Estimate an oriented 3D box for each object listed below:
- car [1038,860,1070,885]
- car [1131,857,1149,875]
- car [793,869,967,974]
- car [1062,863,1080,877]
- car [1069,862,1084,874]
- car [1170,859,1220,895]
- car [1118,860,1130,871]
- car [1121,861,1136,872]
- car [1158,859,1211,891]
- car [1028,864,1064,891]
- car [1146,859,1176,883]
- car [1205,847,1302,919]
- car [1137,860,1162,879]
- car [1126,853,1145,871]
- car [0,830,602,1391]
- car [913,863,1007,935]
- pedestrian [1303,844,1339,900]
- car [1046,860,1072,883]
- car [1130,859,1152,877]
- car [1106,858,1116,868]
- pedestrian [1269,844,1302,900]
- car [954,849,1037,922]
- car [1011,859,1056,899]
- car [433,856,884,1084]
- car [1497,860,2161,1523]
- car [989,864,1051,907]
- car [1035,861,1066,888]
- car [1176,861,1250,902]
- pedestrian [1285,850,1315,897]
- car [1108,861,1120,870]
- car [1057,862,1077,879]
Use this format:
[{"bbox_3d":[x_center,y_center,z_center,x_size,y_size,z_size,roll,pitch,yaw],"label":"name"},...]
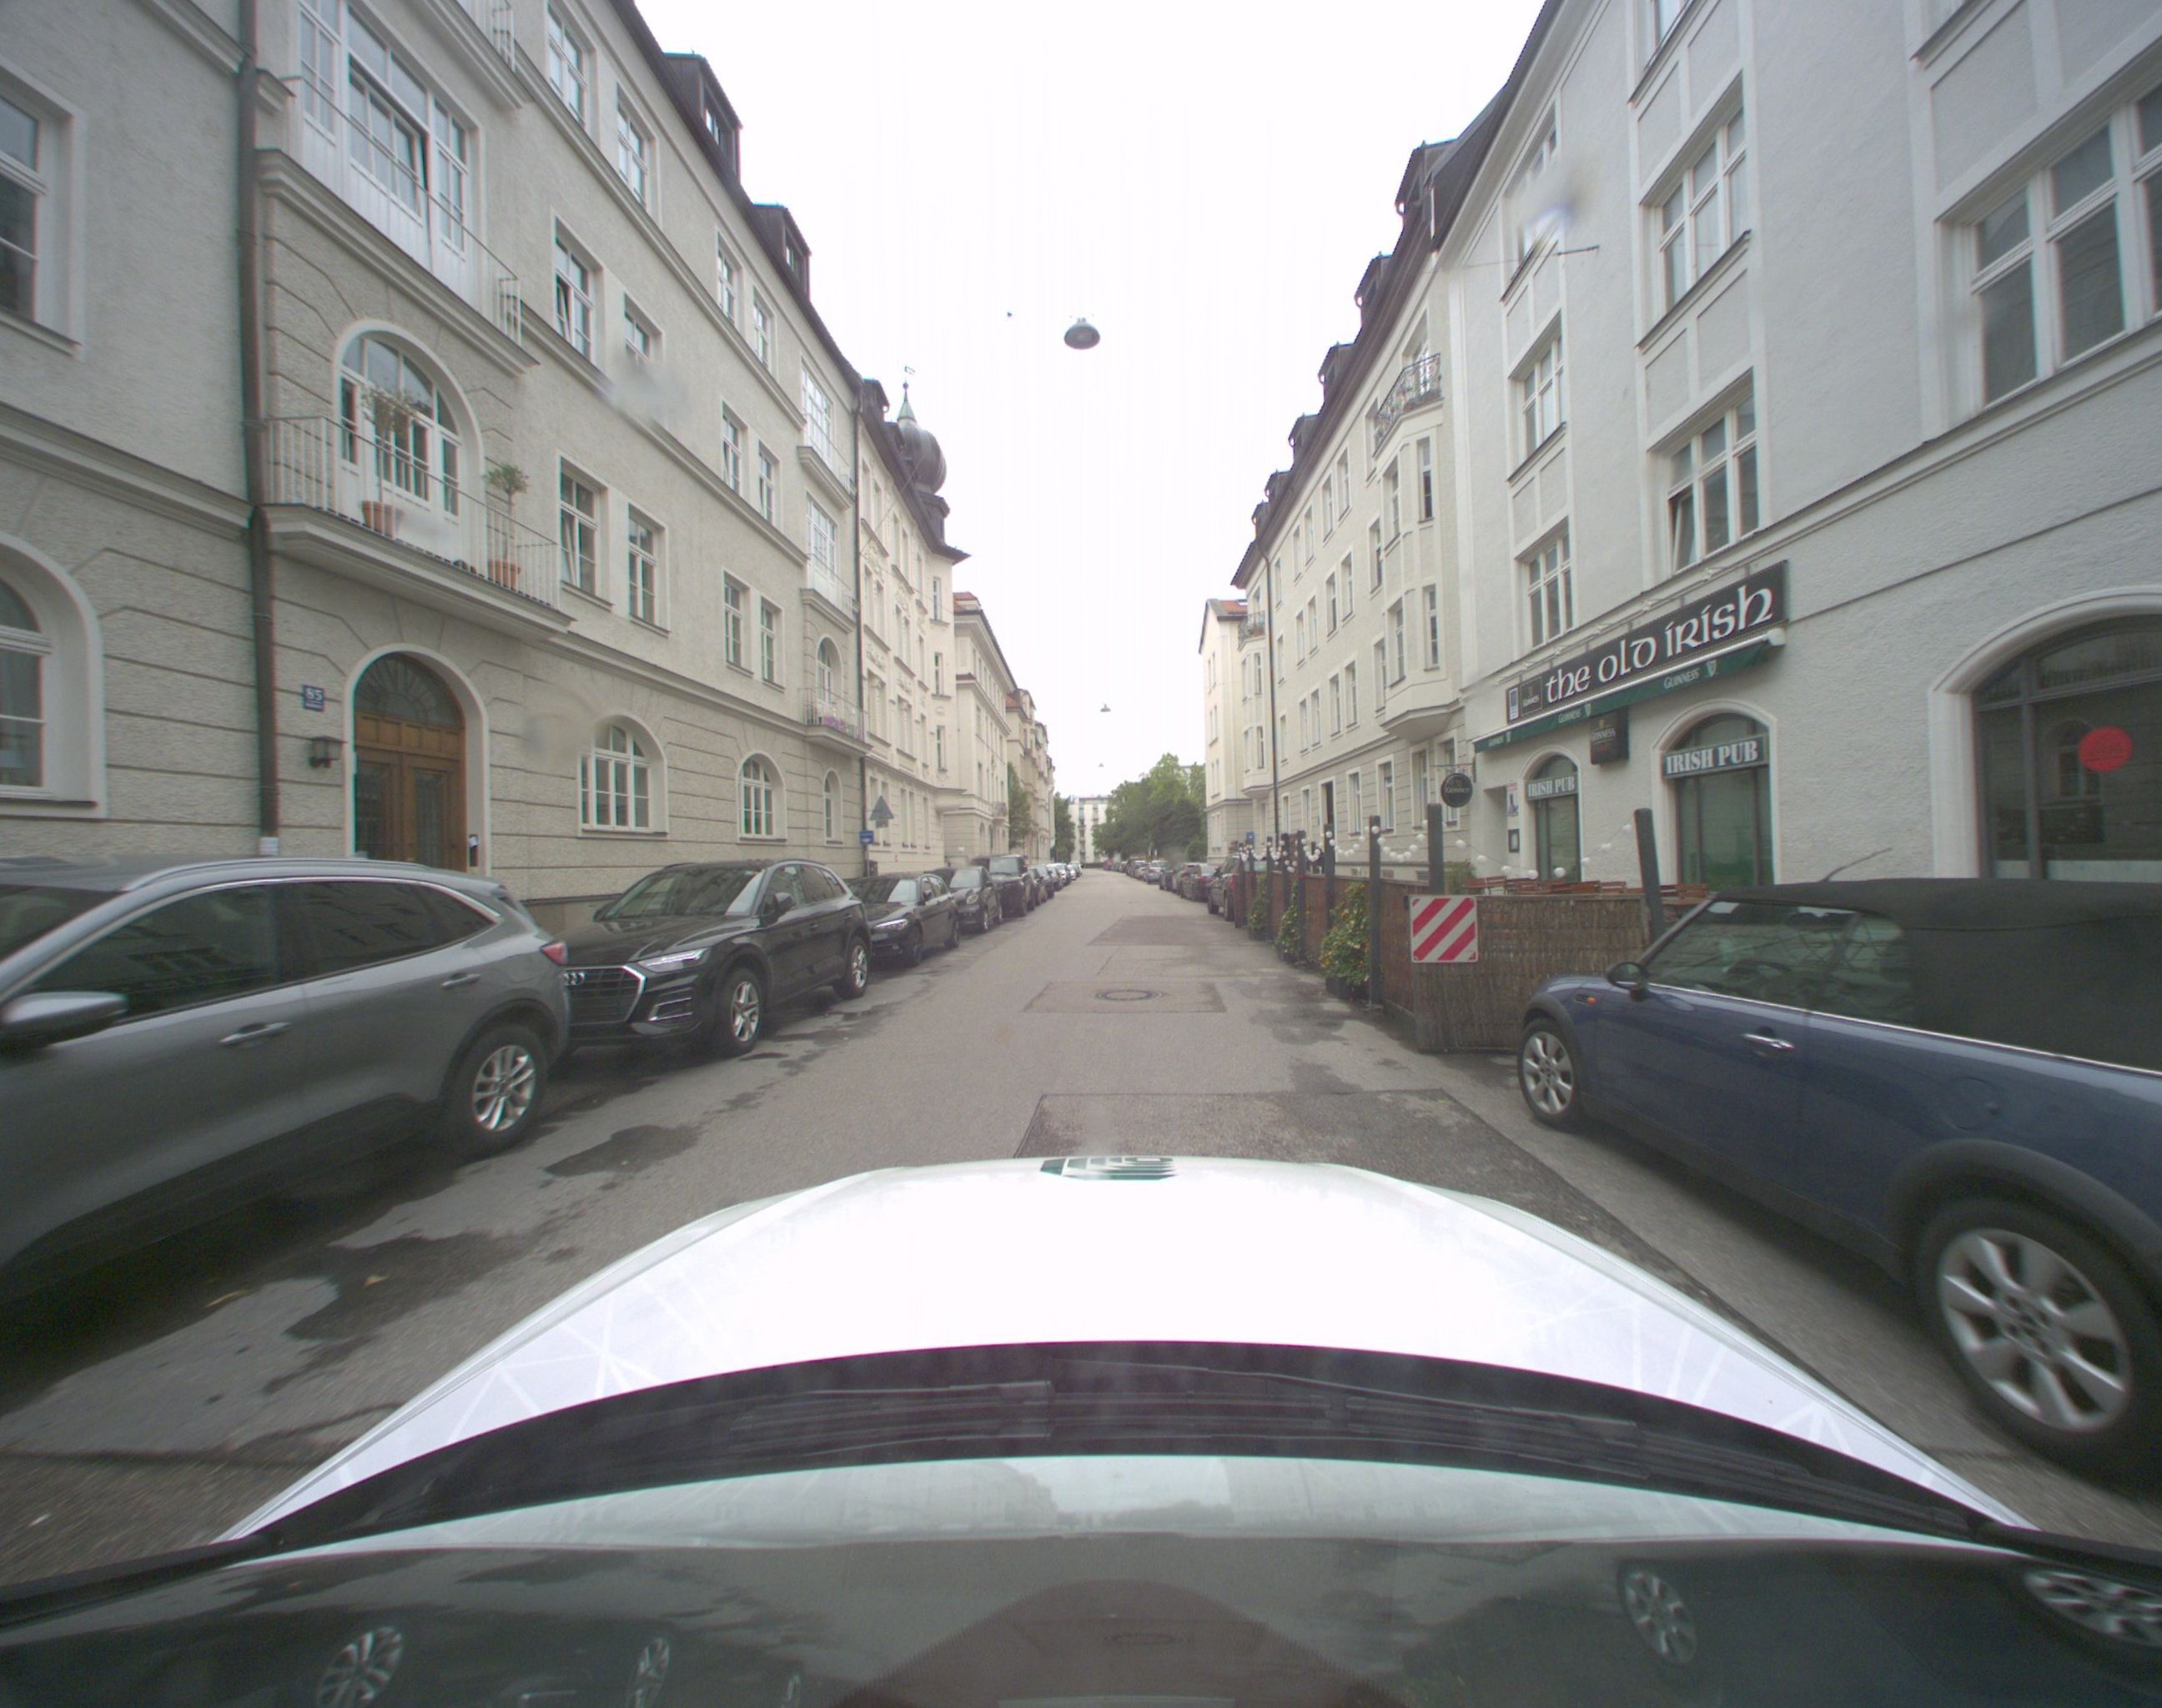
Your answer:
[{"bbox_3d":[-1.867,1.261,57.950,1.908,1.619,4.573,-2,0,2],"label":"car"},{"bbox_3d":[6.070,1.273,84.226,1.716,1.769,4.414,1,-1,2],"label":"car"},{"bbox_3d":[-3.232,1.032,13.952,1.647,1.407,4.096,-3,-1,4],"label":"car"},{"bbox_3d":[-1.099,1.833,93.485,1.830,1.436,4.246,-4,0,1],"label":"car"},{"bbox_3d":[-0.634,1.985,114.324,1.830,1.438,4.276,-4,0,1],"label":"car"},{"bbox_3d":[5.097,0.972,36.804,1.754,1.485,4.422,1,0,2],"label":"car"},{"bbox_3d":[6.492,1.740,121.852,1.509,1.661,3.671,0,-1,-1],"label":"car"},{"bbox_3d":[6.517,1.726,112.065,1.832,1.413,4.343,0,-1,1],"label":"car"},{"bbox_3d":[5.237,1.039,41.760,1.988,1.457,4.710,-2,-1,-1],"label":"car"},{"bbox_3d":[-2.013,1.338,48.093,1.786,1.415,4.279,-4,-1,1],"label":"car"},{"bbox_3d":[5.440,1.131,55.946,1.814,1.569,4.404,1,0,3],"label":"car"},{"bbox_3d":[4.430,0.692,21.507,1.793,1.675,4.191,-1,0,2],"label":"car"},{"bbox_3d":[5.566,1.254,66.839,1.778,1.504,4.065,-1,-1,1],"label":"car"},{"bbox_3d":[6.235,0.879,93.649,1.944,1.954,4.666,0,0,0],"label":"car"},{"bbox_3d":[-4.149,0.793,3.295,1.830,1.677,4.213,-2,0,1],"label":"car"},{"bbox_3d":[-2.846,1.021,19.800,1.610,1.513,3.532,-3,-1,1],"label":"car"},{"bbox_3d":[7.901,0.570,26.827,0.879,1.786,1.112,-1,-1,3],"label":"pedestrian"},{"bbox_3d":[-1.667,1.344,63.377,1.830,1.619,4.244,-2,0,1],"label":"car"},{"bbox_3d":[5.801,1.355,79.164,1.746,1.611,4.420,0,0,-2],"label":"car"},{"bbox_3d":[5.891,1.849,161.373,1.829,1.927,4.008,1,0,3],"label":"car"},{"bbox_3d":[6.851,0.585,27.297,0.879,1.811,1.112,-1,-1,5],"label":"pedestrian"},{"bbox_3d":[-2.465,0.861,24.669,1.830,1.894,4.764,-4,0,1],"label":"car"},{"bbox_3d":[-2.080,1.084,36.755,1.721,1.619,4.120,-4,-1,-1],"label":"car"},{"bbox_3d":[-3.589,0.846,8.071,1.868,1.599,4.438,-2,0,4],"label":"car"},{"bbox_3d":[3.261,0.749,3.196,1.659,1.400,3.496,1,0,4],"label":"car"},{"bbox_3d":[-2.270,1.175,31.505,1.829,1.394,4.247,-4,0,2],"label":"car"},{"bbox_3d":[-1.980,1.307,52.789,1.778,1.541,4.253,-4,-1,-2],"label":"car"},{"bbox_3d":[4.957,1.000,31.207,1.832,1.399,4.969,0,0,-2],"label":"car"},{"bbox_3d":[8.562,0.754,31.864,0.880,1.813,1.111,-2,0,2],"label":"pedestrian"},{"bbox_3d":[6.076,2.139,150.558,1.834,1.519,3.943,0,-1,-3],"label":"car"},{"bbox_3d":[-1.337,1.591,78.802,1.831,1.434,4.243,-3,0,-1],"label":"car"}]
